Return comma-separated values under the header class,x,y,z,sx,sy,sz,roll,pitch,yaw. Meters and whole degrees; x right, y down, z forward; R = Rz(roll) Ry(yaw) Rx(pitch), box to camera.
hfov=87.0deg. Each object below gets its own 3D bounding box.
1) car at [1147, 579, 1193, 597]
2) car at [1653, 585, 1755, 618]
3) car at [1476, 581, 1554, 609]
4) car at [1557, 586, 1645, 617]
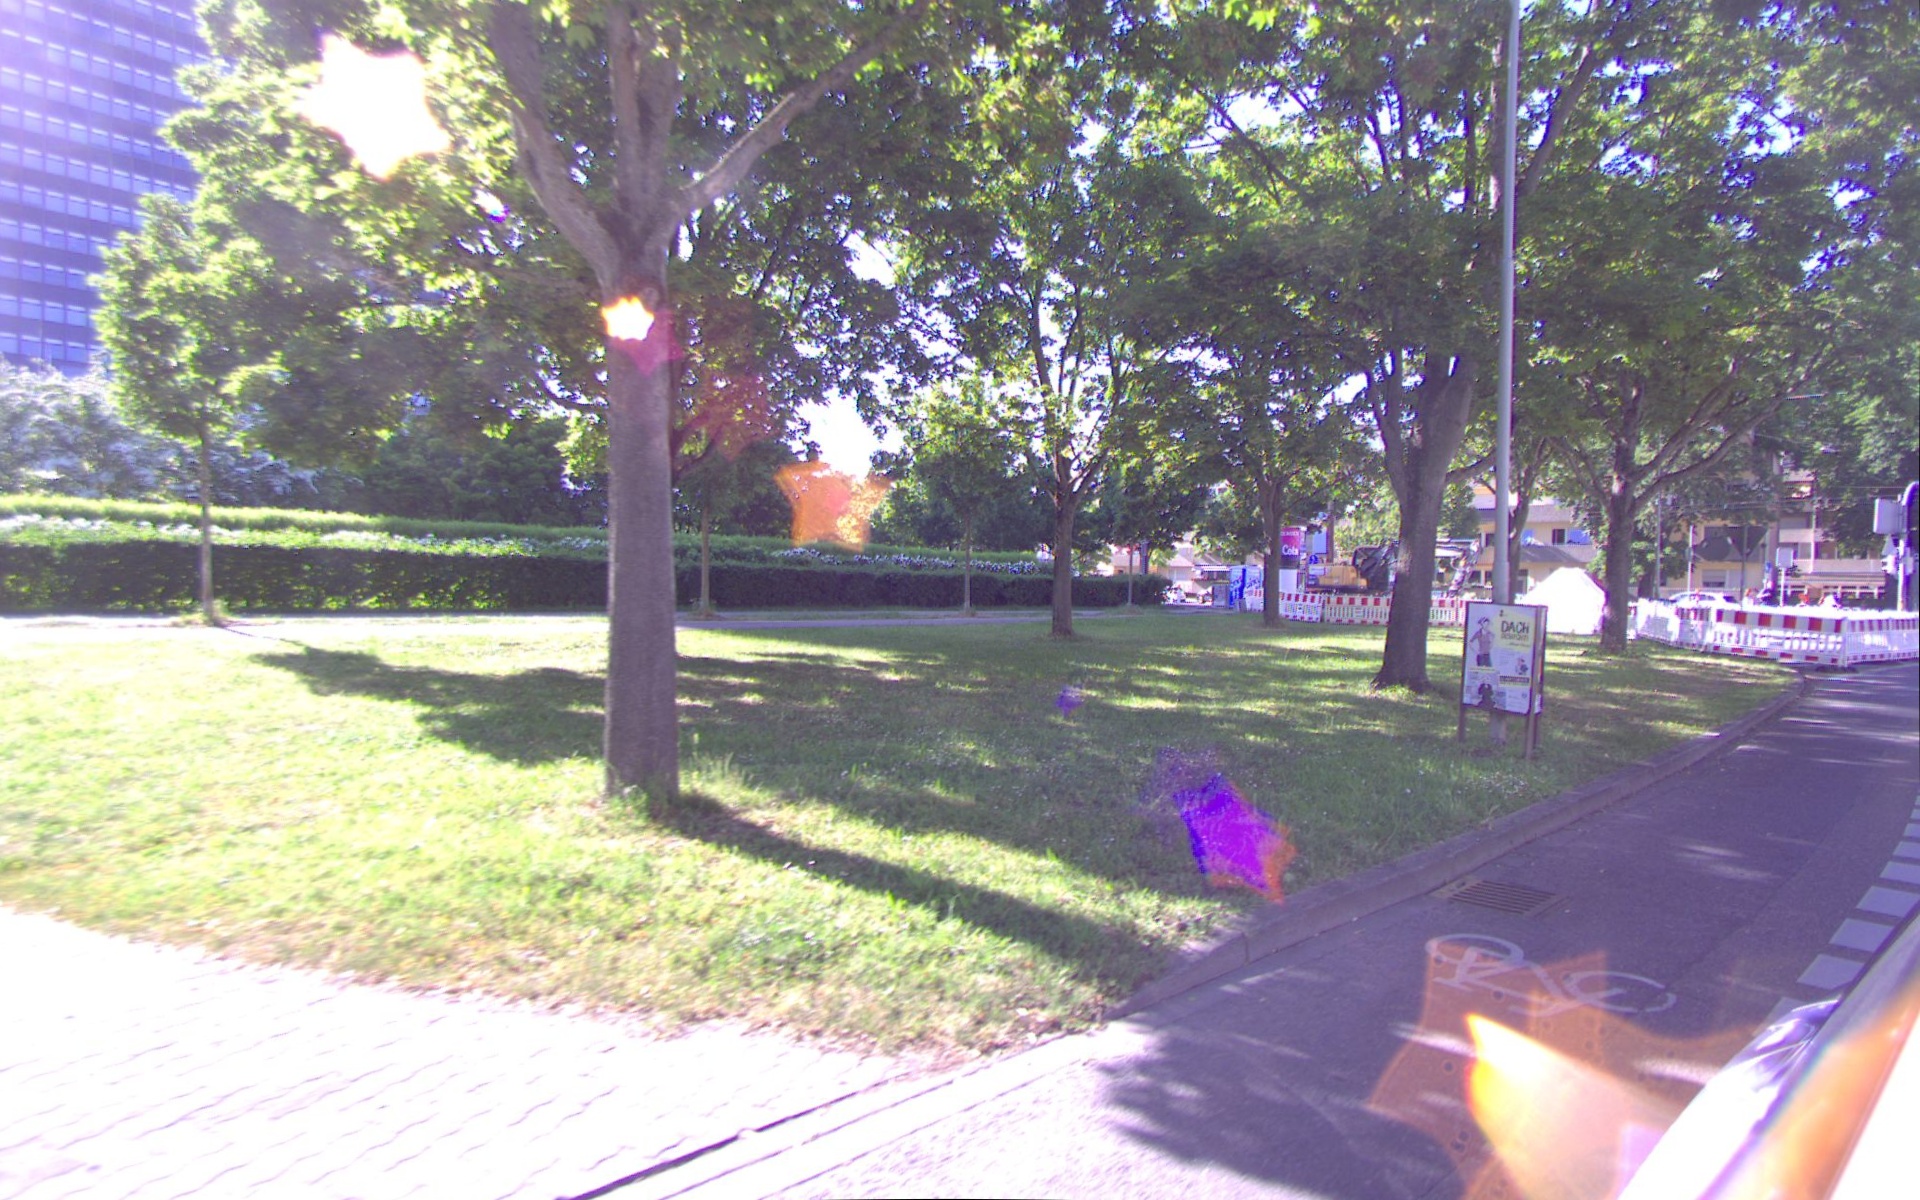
class,x,y,z,sx,sy,sz,roll,pitch,yaw
car,19.529,-1.111,94.120,1.796,1.608,3.995,0,2,-40
car,38.395,0.048,52.288,1.890,1.573,3.764,0,2,-25
car,33.916,-0.333,61.945,1.890,1.573,3.764,0,2,-25
car,36.442,0.065,57.625,1.890,1.573,3.764,0,2,-25
